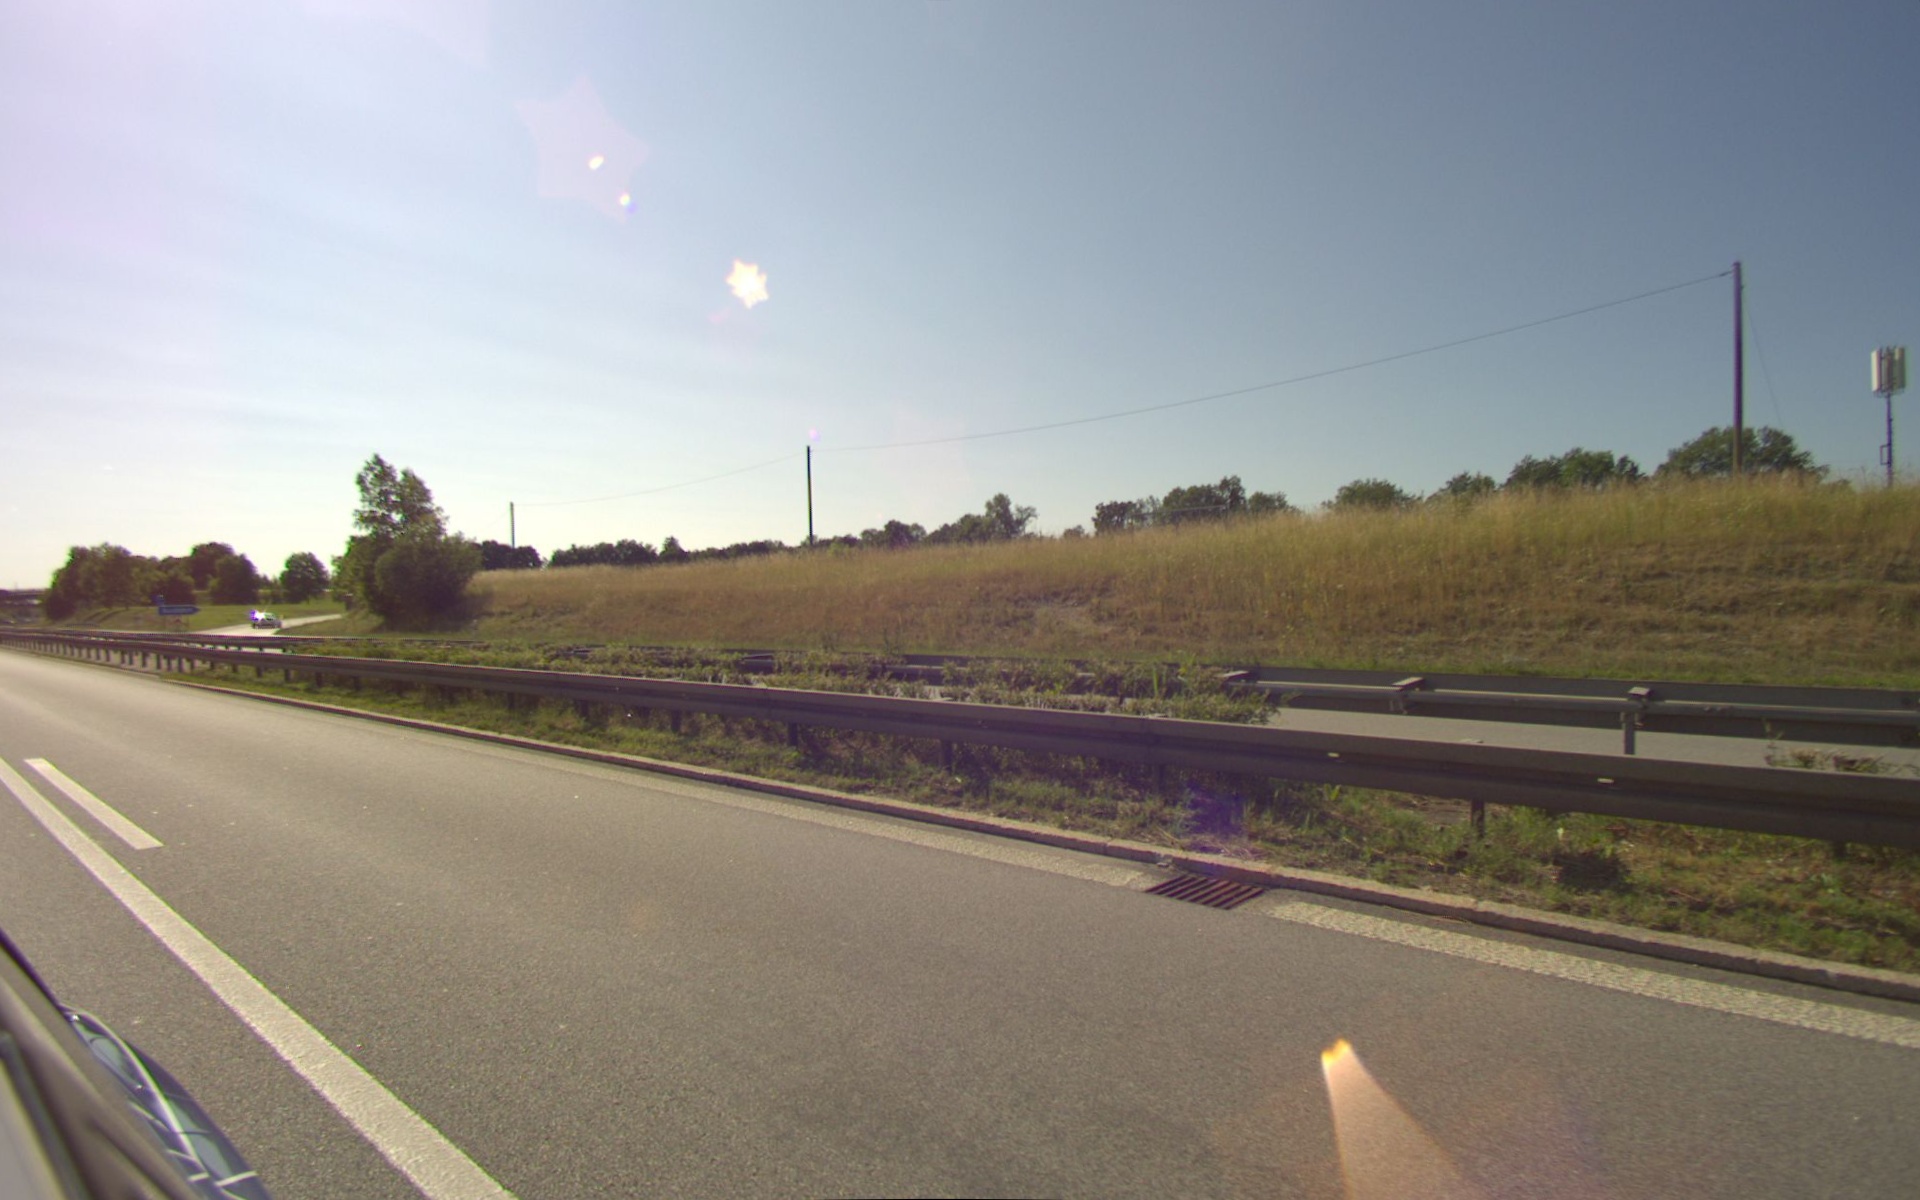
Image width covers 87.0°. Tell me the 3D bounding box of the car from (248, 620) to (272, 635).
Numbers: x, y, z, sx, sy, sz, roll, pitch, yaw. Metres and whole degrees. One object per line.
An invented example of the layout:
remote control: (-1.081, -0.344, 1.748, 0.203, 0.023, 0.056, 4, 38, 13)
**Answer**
car: (-68.064, 2.664, 98.480, 1.644, 1.386, 4.012, -1, 0, -31)

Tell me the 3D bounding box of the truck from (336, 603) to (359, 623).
truck: (-78.703, 1.628, 130.130, 1.923, 2.430, 4.796, -1, 0, -23)

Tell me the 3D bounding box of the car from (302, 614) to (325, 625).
car: (-82.754, 2.493, 129.545, 1.644, 1.386, 4.013, -1, 0, -20)
